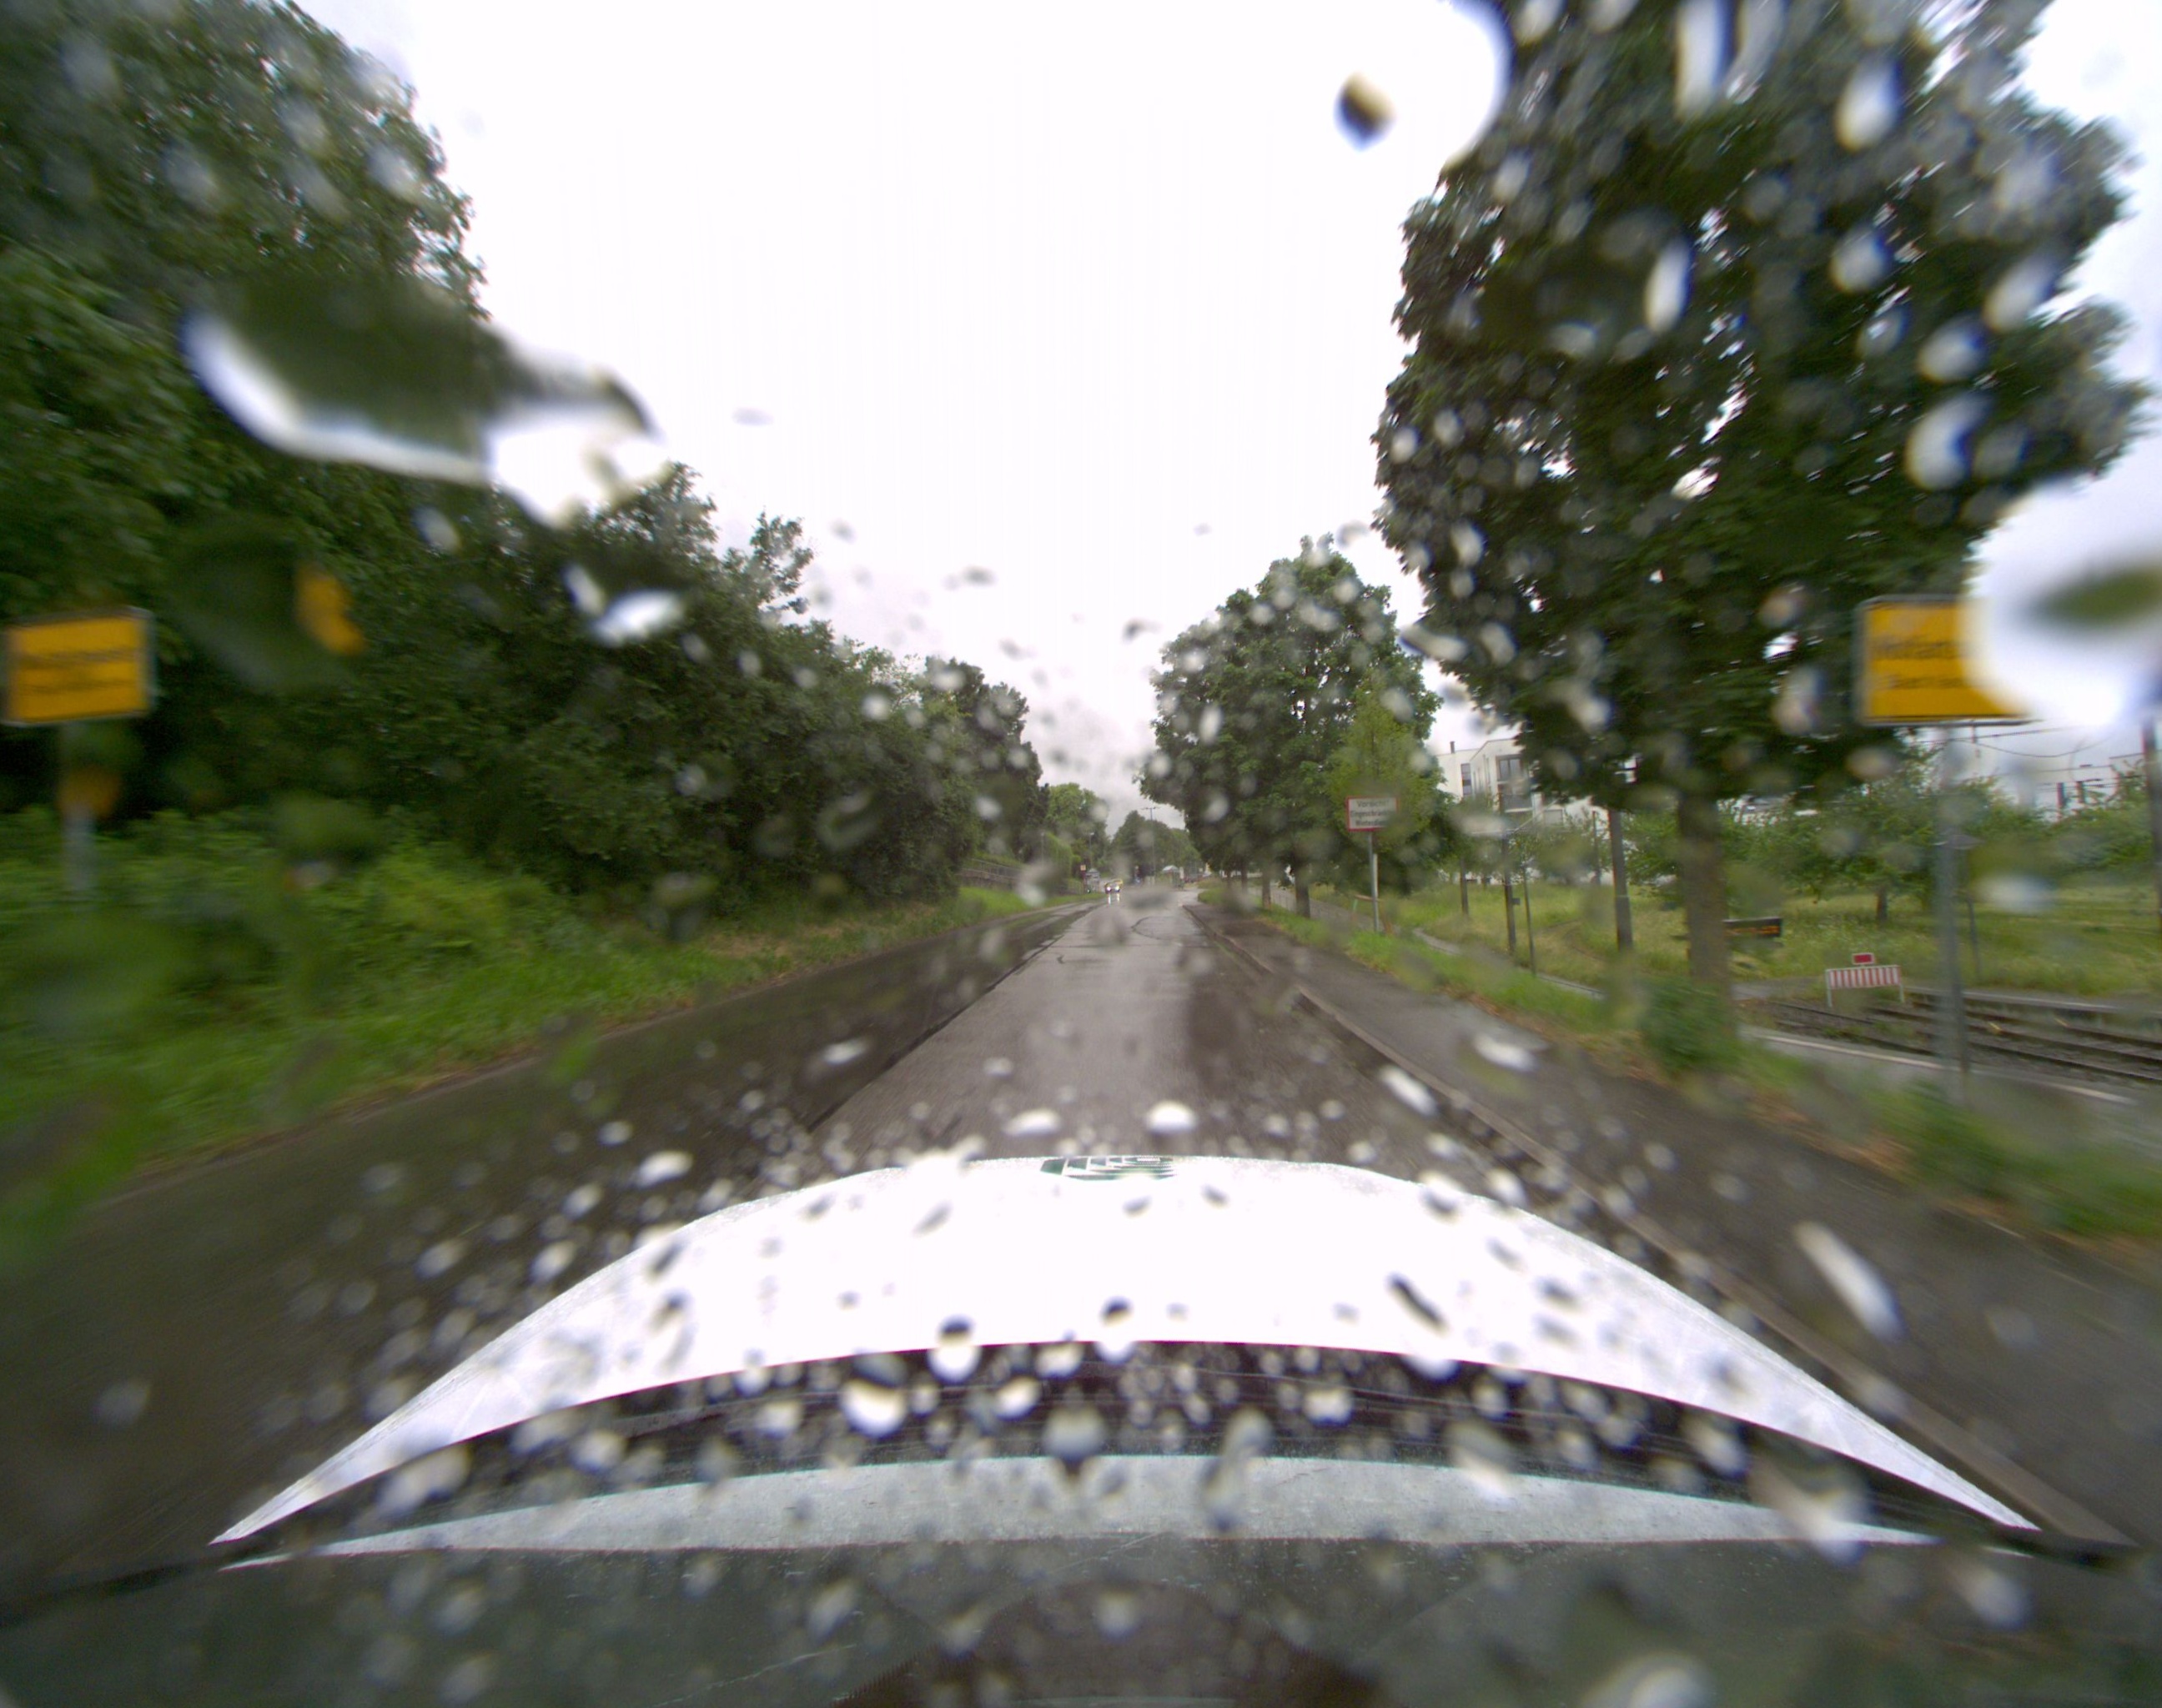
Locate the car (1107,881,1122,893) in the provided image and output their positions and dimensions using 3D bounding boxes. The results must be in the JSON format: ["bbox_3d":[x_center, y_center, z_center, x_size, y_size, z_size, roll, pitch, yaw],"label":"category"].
[{"bbox_3d":[4.560,4.539,111.517,1.755,1.503,4.141,-4,-2,1],"label":"car"}]

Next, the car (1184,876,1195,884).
[{"bbox_3d":[22.923,5.468,172.577,1.684,1.438,3.608,-3,0,-2],"label":"car"}]
